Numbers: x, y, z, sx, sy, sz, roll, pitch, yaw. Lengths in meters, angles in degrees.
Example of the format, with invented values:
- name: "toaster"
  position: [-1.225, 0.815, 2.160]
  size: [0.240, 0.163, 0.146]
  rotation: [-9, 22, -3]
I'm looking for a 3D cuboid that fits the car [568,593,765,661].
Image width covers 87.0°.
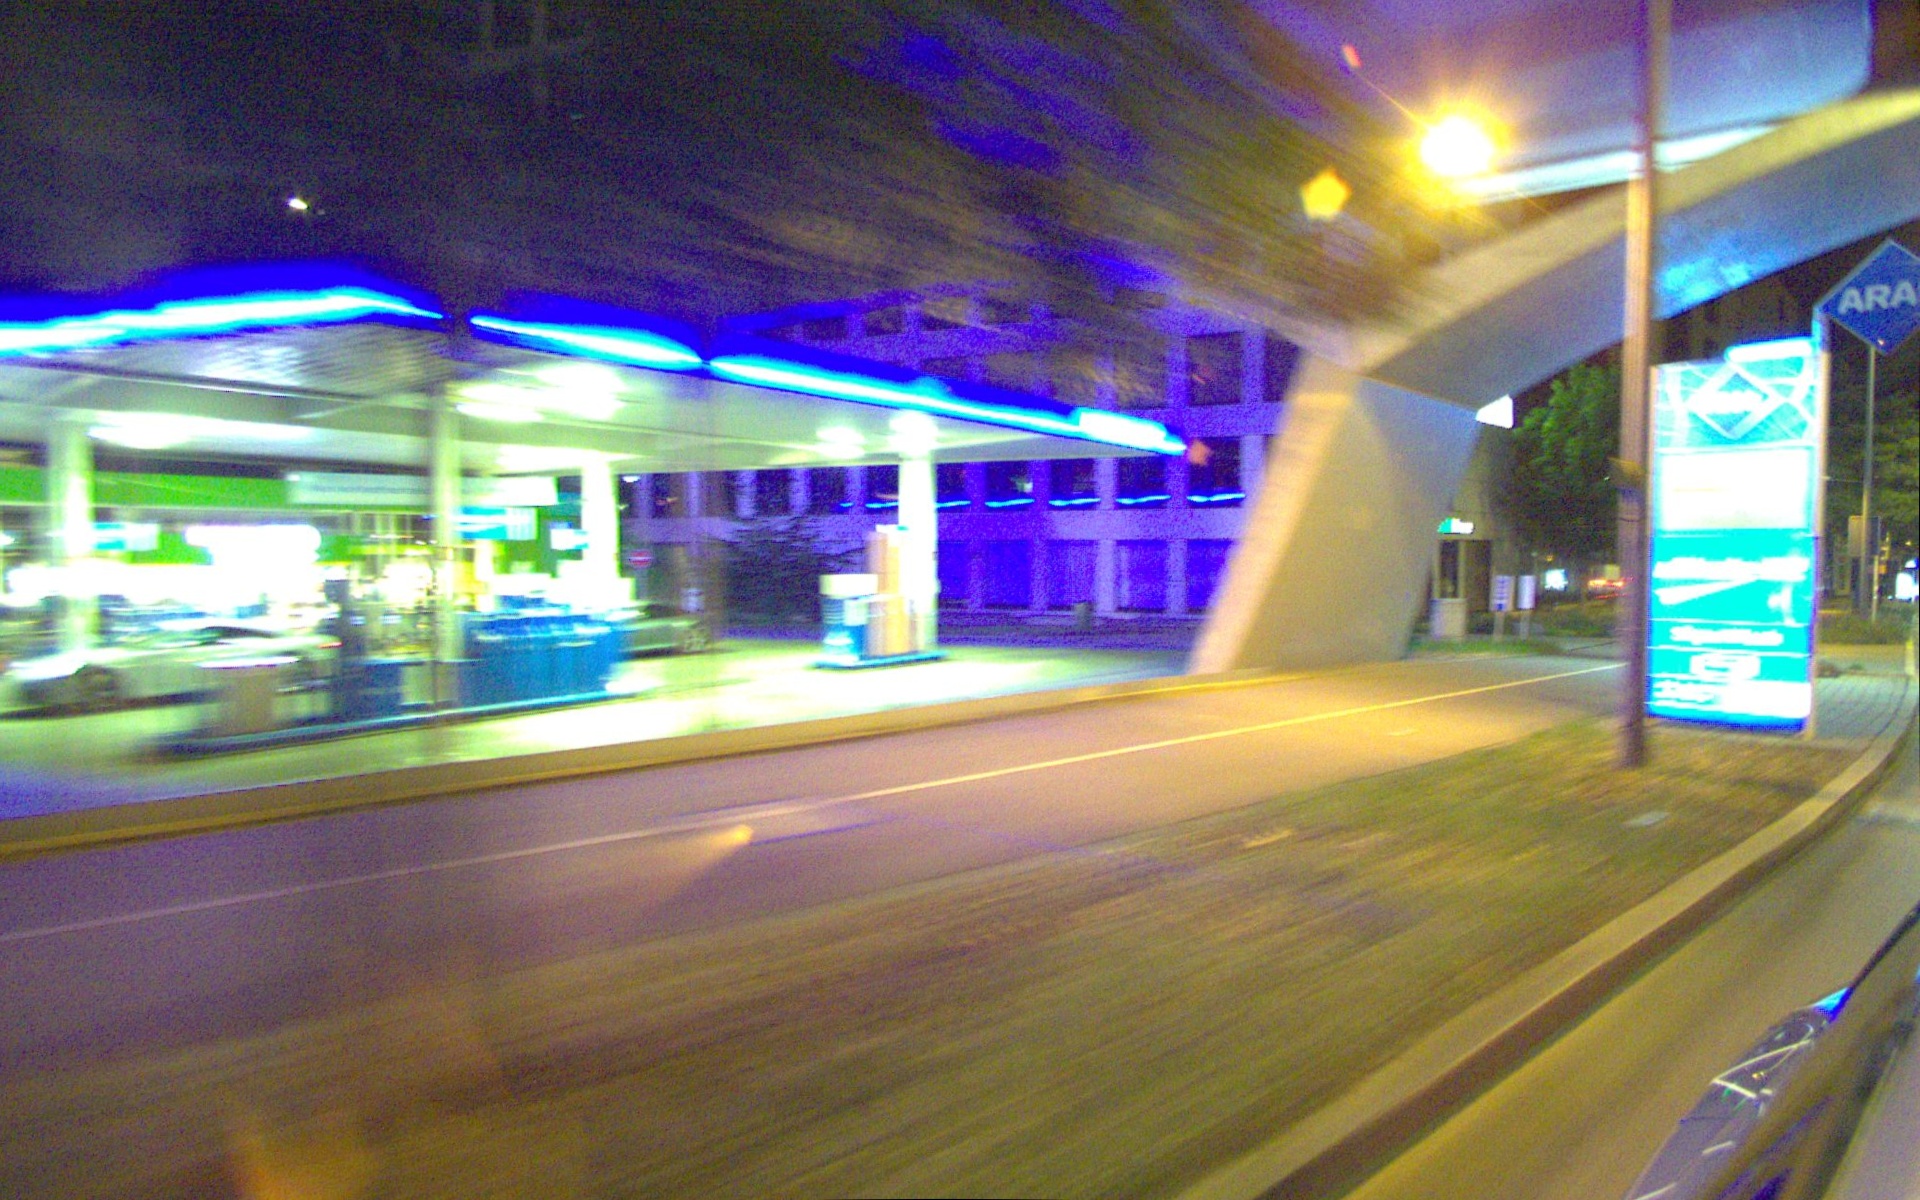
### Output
- name: "car"
  position: [-7.029, 0.569, 24.562]
  size: [1.924, 1.380, 4.273]
  rotation: [1, 2, 40]

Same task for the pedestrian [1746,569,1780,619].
- name: "pedestrian"
  position: [32.245, -0.251, 40.642]
  size: [0.778, 1.936, 0.807]
  rotation: [0, 4, -36]

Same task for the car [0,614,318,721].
- name: "car"
  position: [-13.165, 1.003, 16.711]
  size: [1.650, 1.375, 4.013]
  rotation: [0, 1, 38]
